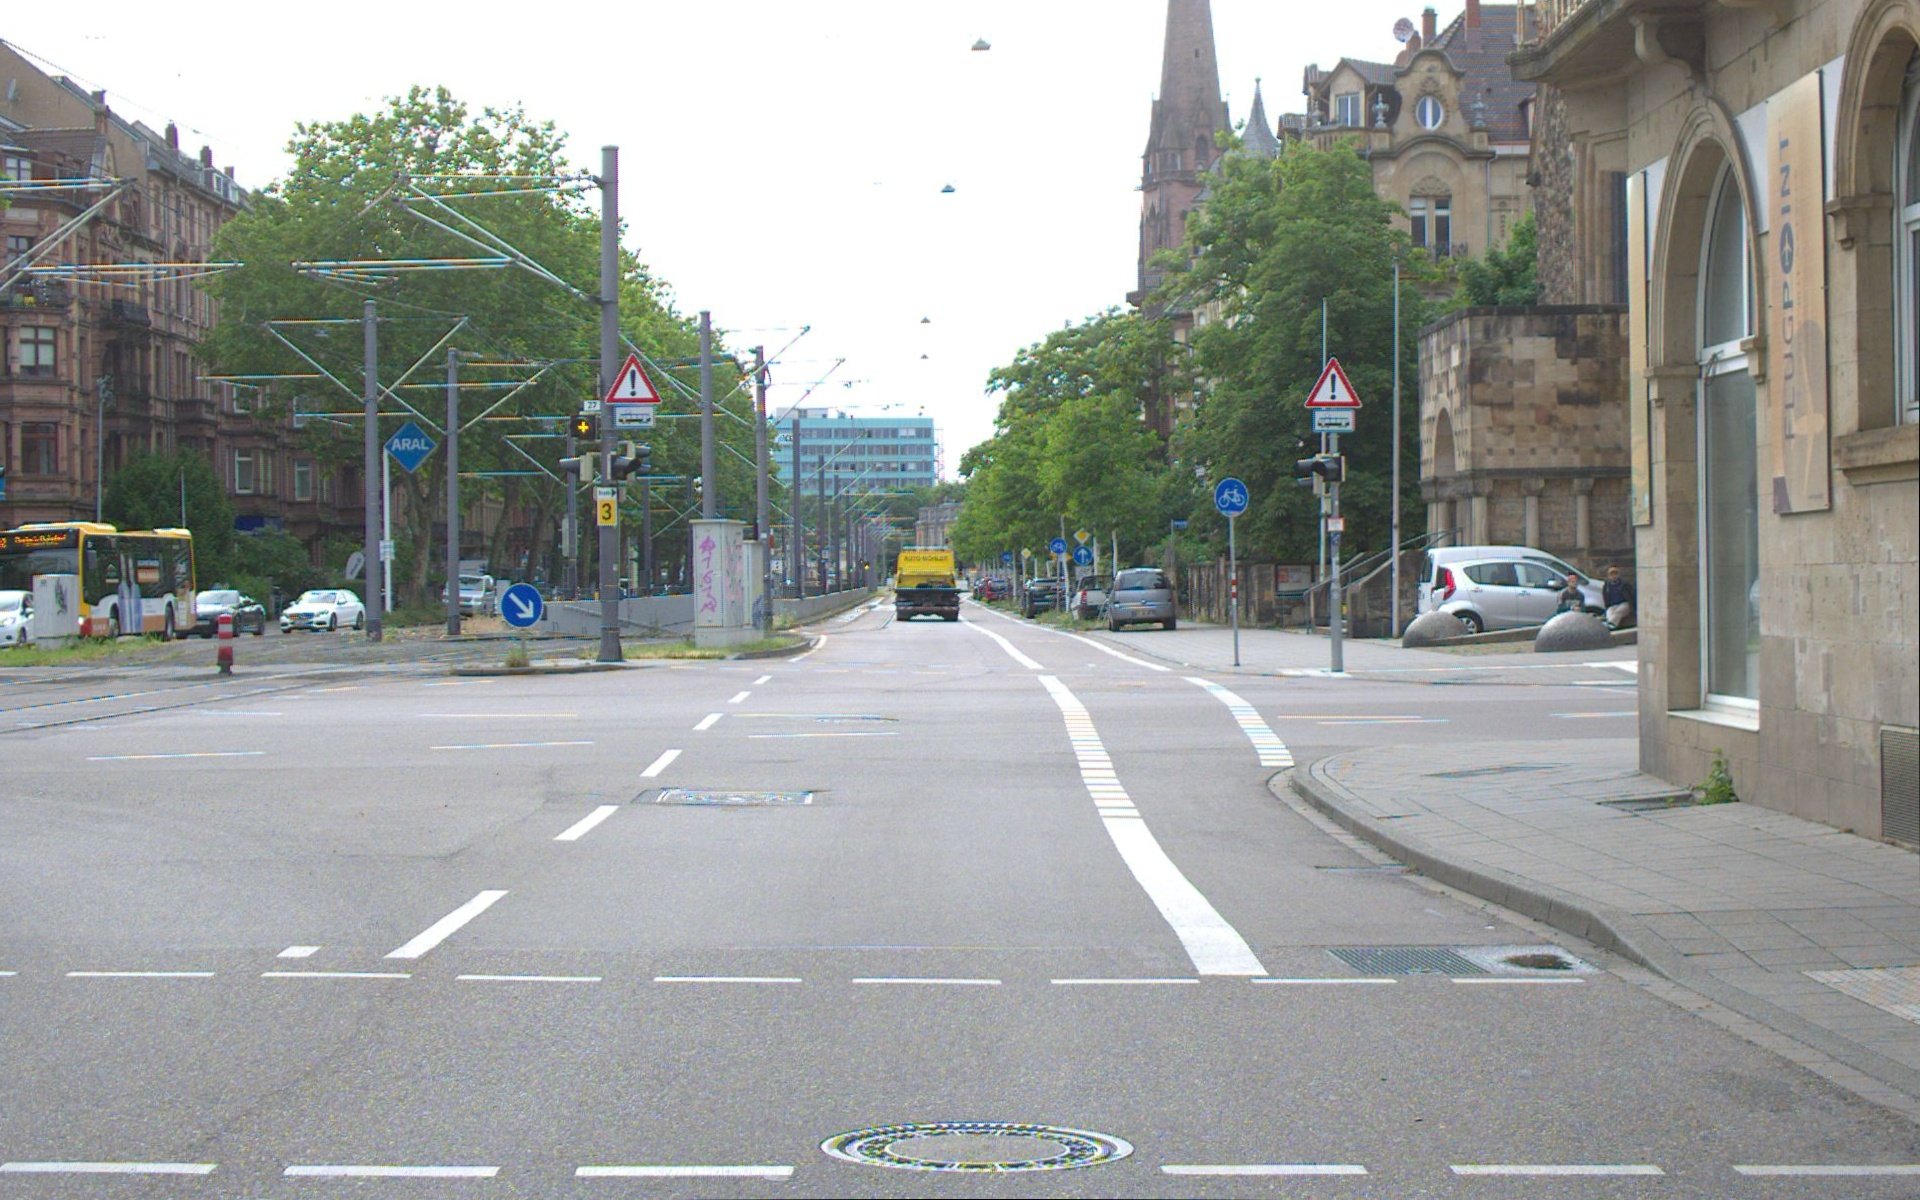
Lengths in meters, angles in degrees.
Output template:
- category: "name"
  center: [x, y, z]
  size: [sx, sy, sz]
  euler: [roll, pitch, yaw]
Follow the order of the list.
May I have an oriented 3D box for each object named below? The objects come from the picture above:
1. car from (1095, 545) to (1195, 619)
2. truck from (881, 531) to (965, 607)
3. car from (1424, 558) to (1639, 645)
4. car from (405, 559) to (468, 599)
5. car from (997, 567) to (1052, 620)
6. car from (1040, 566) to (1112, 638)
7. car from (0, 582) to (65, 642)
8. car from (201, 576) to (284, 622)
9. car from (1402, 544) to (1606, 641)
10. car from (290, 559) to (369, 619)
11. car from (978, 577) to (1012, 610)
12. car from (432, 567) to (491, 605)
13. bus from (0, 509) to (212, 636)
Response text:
- category: "car"
  center: [4.867, -0.474, 89.994]
  size: [1.994, 1.849, 4.024]
  euler: [1, 1, 12]
- category: "truck"
  center: [-1.338, -1.192, 131.002]
  size: [3.055, 2.760, 9.816]
  euler: [0, 1, 0]
- category: "car"
  center: [10.765, 0.014, 64.937]
  size: [3.713, 1.558, 2.000]
  euler: [1, 0, 0]
- category: "car"
  center: [-21.542, -0.873, 141.529]
  size: [1.993, 1.605, 4.000]
  euler: [1, 1, -1]
- category: "car"
  center: [2.535, -0.277, 135.999]
  size: [1.993, 2.007, 4.000]
  euler: [1, 1, -1]
- category: "car"
  center: [3.341, 0.031, 99.589]
  size: [1.993, 2.007, 4.000]
  euler: [1, 1, 1]
- category: "car"
  center: [-21.910, 0.264, 79.054]
  size: [1.656, 1.316, 3.638]
  euler: [1, 1, 1]
- category: "car"
  center: [-21.357, -0.047, 102.440]
  size: [1.656, 1.316, 3.638]
  euler: [1, 1, 1]
- category: "car"
  center: [10.793, -0.164, 68.415]
  size: [3.713, 1.849, 2.000]
  euler: [1, 0, 0]
- category: "car"
  center: [-21.540, -0.390, 117.540]
  size: [1.993, 2.007, 4.000]
  euler: [1, 1, -1]
- category: "car"
  center: [2.186, -0.403, 216.847]
  size: [1.993, 2.007, 4.000]
  euler: [1, 1, -1]
- category: "car"
  center: [-21.633, -0.633, 149.346]
  size: [1.993, 1.605, 4.000]
  euler: [1, 1, -1]
- category: "bus"
  center: [-22.478, -0.725, 89.103]
  size: [3.231, 3.025, 12.311]
  euler: [1, 1, 1]
